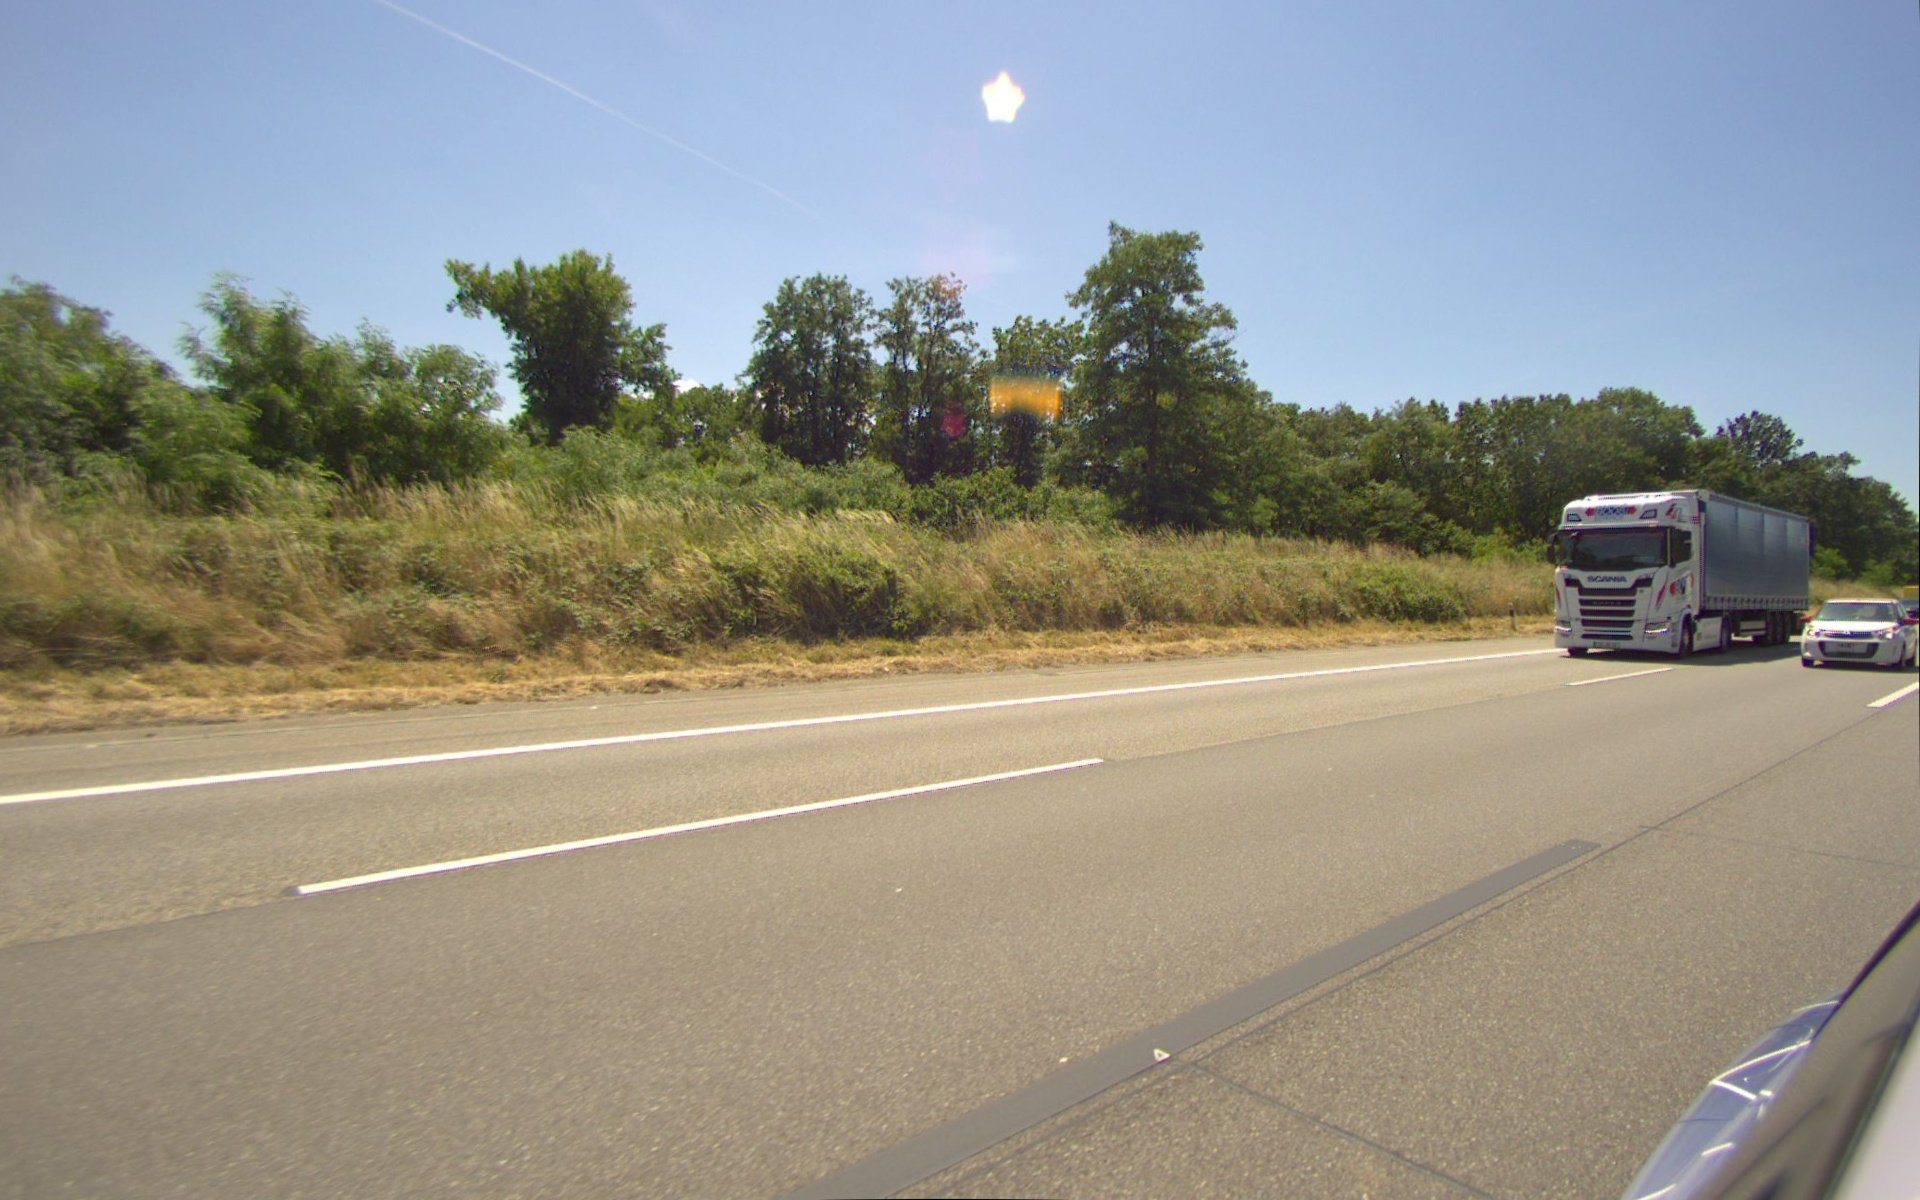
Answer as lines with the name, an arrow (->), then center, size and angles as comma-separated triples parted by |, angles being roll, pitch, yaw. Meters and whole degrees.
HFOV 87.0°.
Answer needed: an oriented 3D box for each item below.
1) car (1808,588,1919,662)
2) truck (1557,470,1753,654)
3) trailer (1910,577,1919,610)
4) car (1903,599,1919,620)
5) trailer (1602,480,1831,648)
car -> 19.324, 0.475, 21.437 | 3.294, 1.438, 1.580 | -1, 0, -41
truck -> 17.435, -0.875, 25.262 | 6.066, 4.053, 2.601 | 0, 0, -41
trailer -> 65.429, -0.434, 68.108 | 3.141, 2.236, 1.847 | 0, 0, -41
car -> 62.999, 0.613, 65.991 | 3.294, 1.298, 1.844 | -1, 0, -41
trailer -> 22.836, -0.937, 30.004 | 13.835, 4.053, 2.601 | -1, 0, -41
